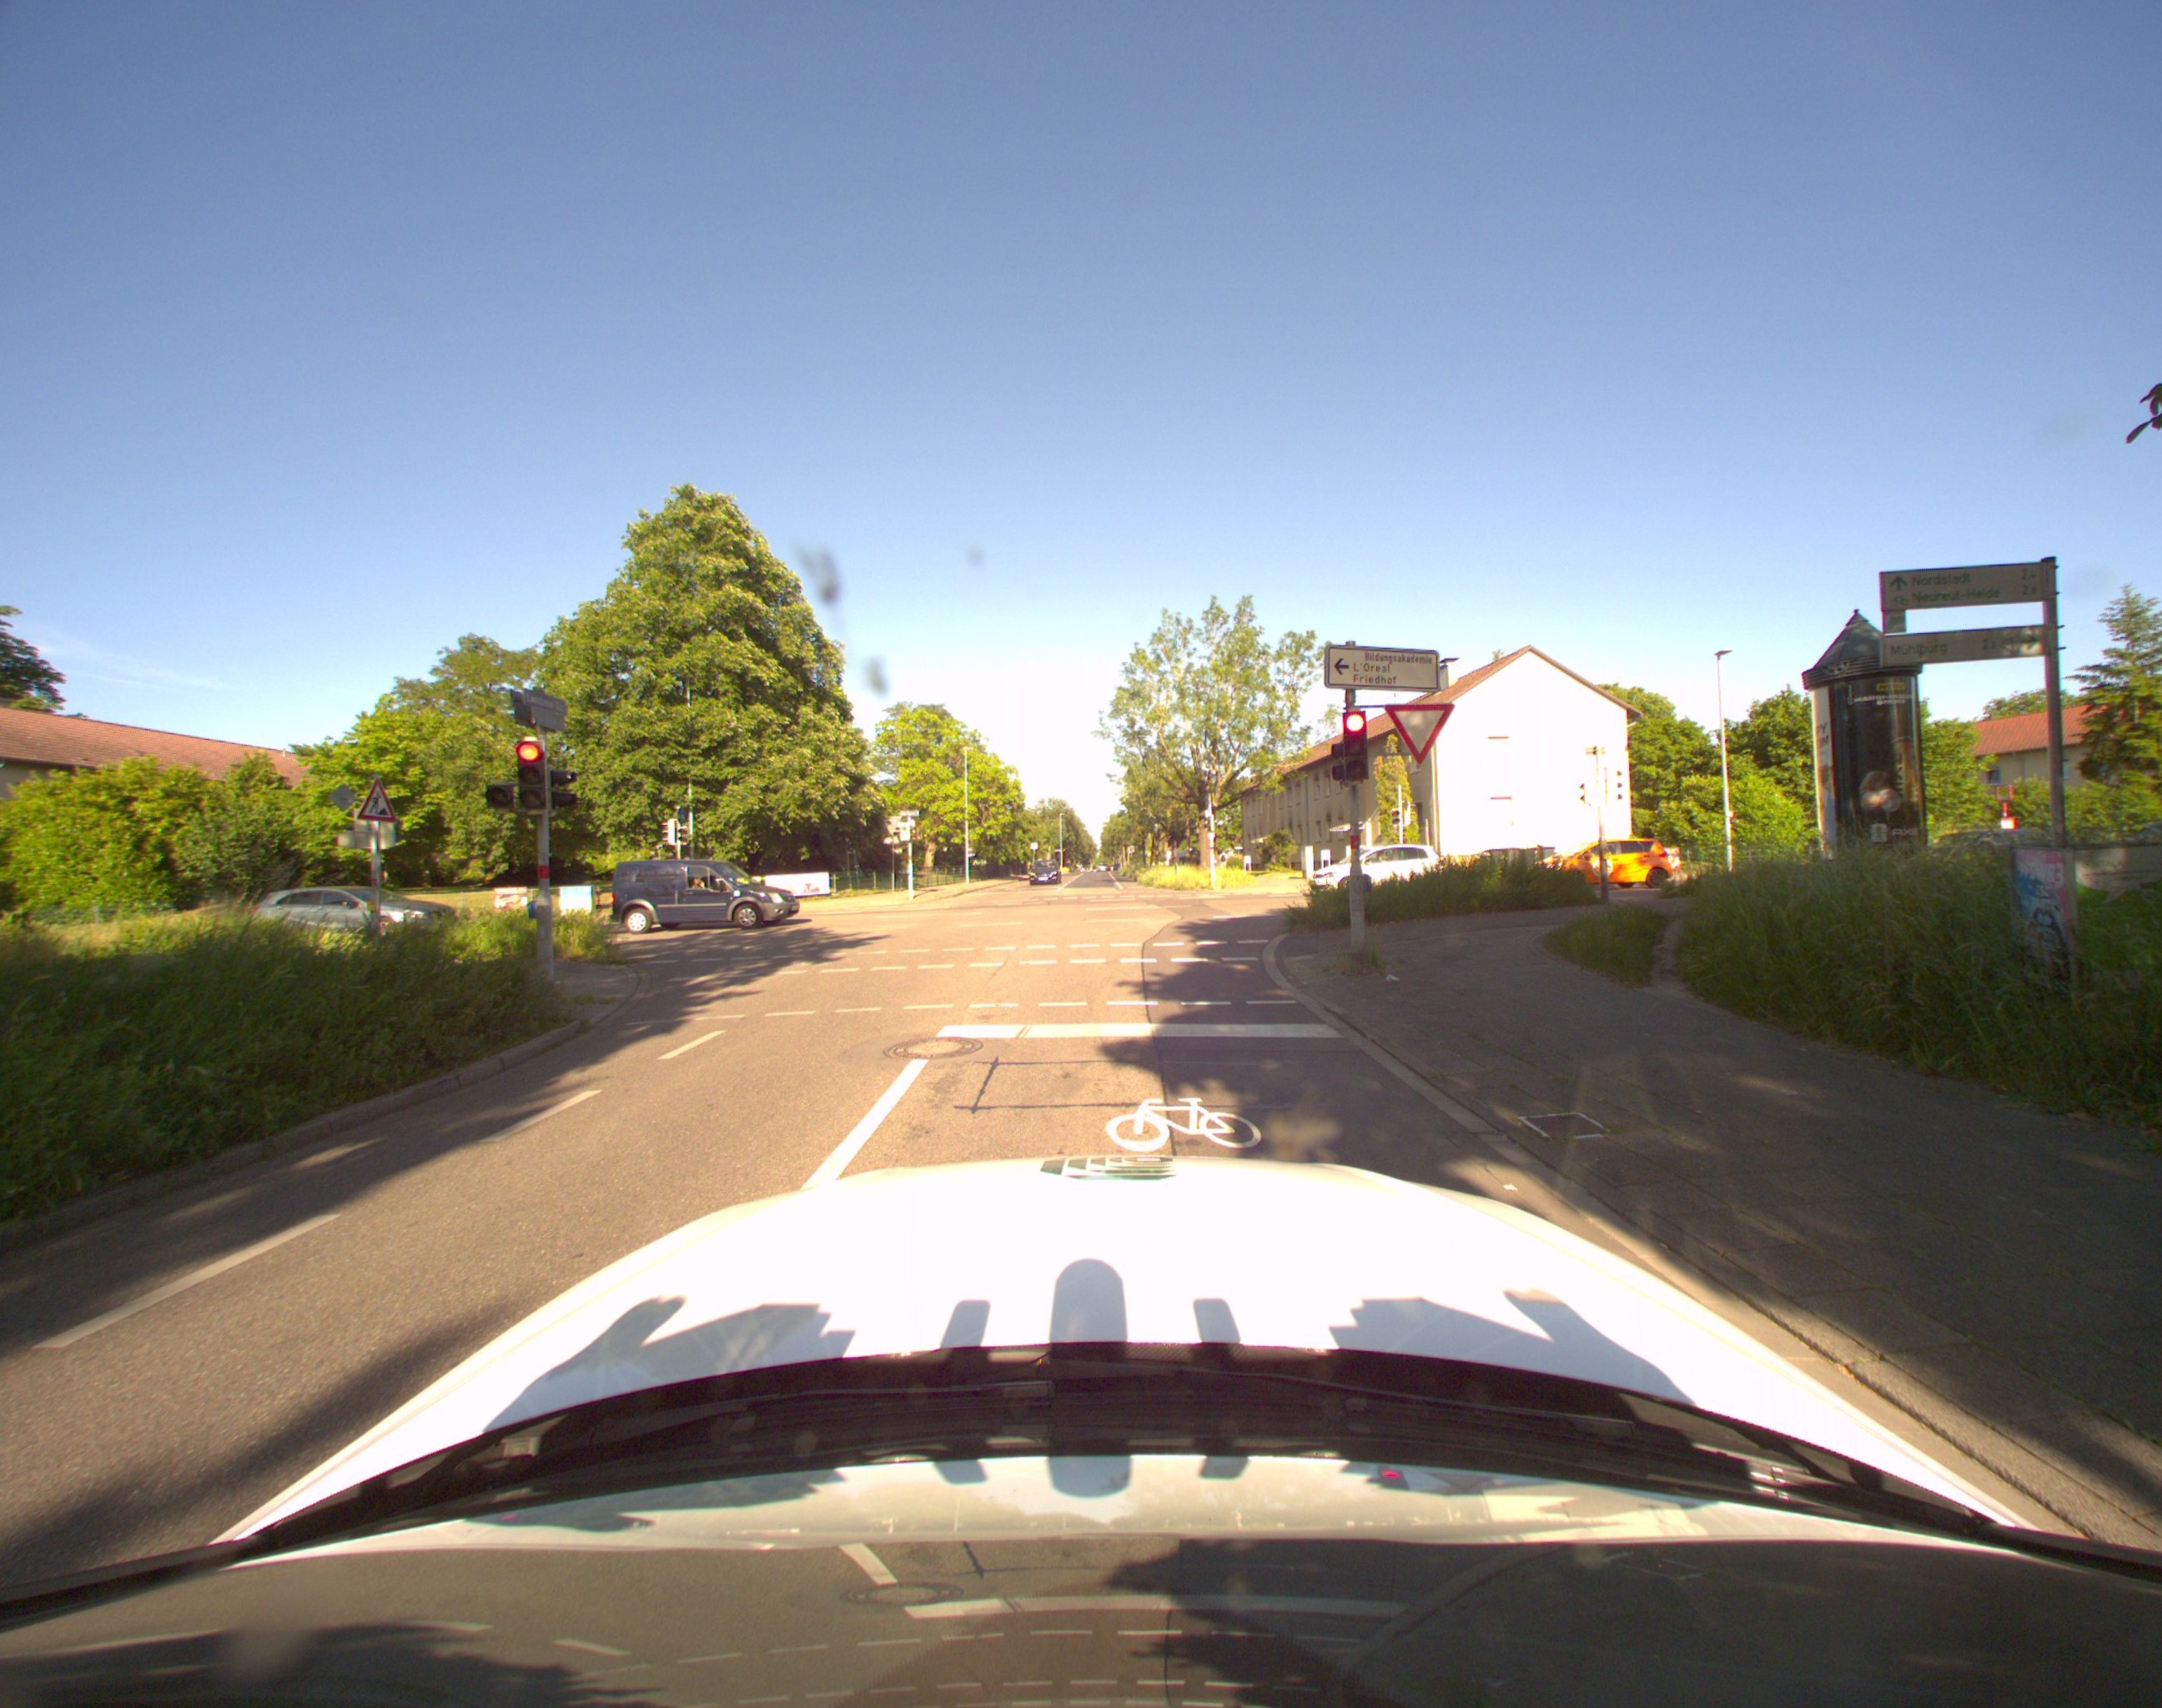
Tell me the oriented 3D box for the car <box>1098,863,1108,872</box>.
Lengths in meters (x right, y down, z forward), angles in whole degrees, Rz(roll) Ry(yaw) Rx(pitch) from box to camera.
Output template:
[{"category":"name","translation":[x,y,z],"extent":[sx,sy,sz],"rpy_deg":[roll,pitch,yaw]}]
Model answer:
[{"category":"car","translation":[3.862,2.380,142.801],"extent":[1.838,1.461,3.531],"rpy_deg":[-2,0,1]}]

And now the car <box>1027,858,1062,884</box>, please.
[{"category":"car","translation":[-2.082,0.971,47.700],"extent":[1.704,1.385,3.473],"rpy_deg":[-2,0,3]}]

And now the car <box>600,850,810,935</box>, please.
[{"category":"car","translation":[-9.352,0.912,20.550],"extent":[4.334,1.887,1.858],"rpy_deg":[-2,0,-3]}]

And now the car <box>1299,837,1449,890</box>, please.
[{"category":"car","translation":[9.125,0.287,25.598],"extent":[4.095,1.563,1.756],"rpy_deg":[-1,-1,-1]}]

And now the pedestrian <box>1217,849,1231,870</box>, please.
[{"category":"pedestrian","translation":[10.226,0.384,58.169],"extent":[0.839,1.493,0.924],"rpy_deg":[1,0,1]}]

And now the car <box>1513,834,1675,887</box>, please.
[{"category":"car","translation":[16.004,0.204,25.540],"extent":[3.972,1.582,1.758],"rpy_deg":[-1,-1,1]}]

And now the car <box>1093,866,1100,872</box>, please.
[{"category":"car","translation":[4.254,4.057,221.179],"extent":[1.751,1.624,3.271],"rpy_deg":[-2,0,3]}]

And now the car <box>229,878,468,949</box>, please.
[{"category":"car","translation":[-18.551,1.466,20.785],"extent":[4.270,1.489,1.913],"rpy_deg":[-2,0,-1]}]
